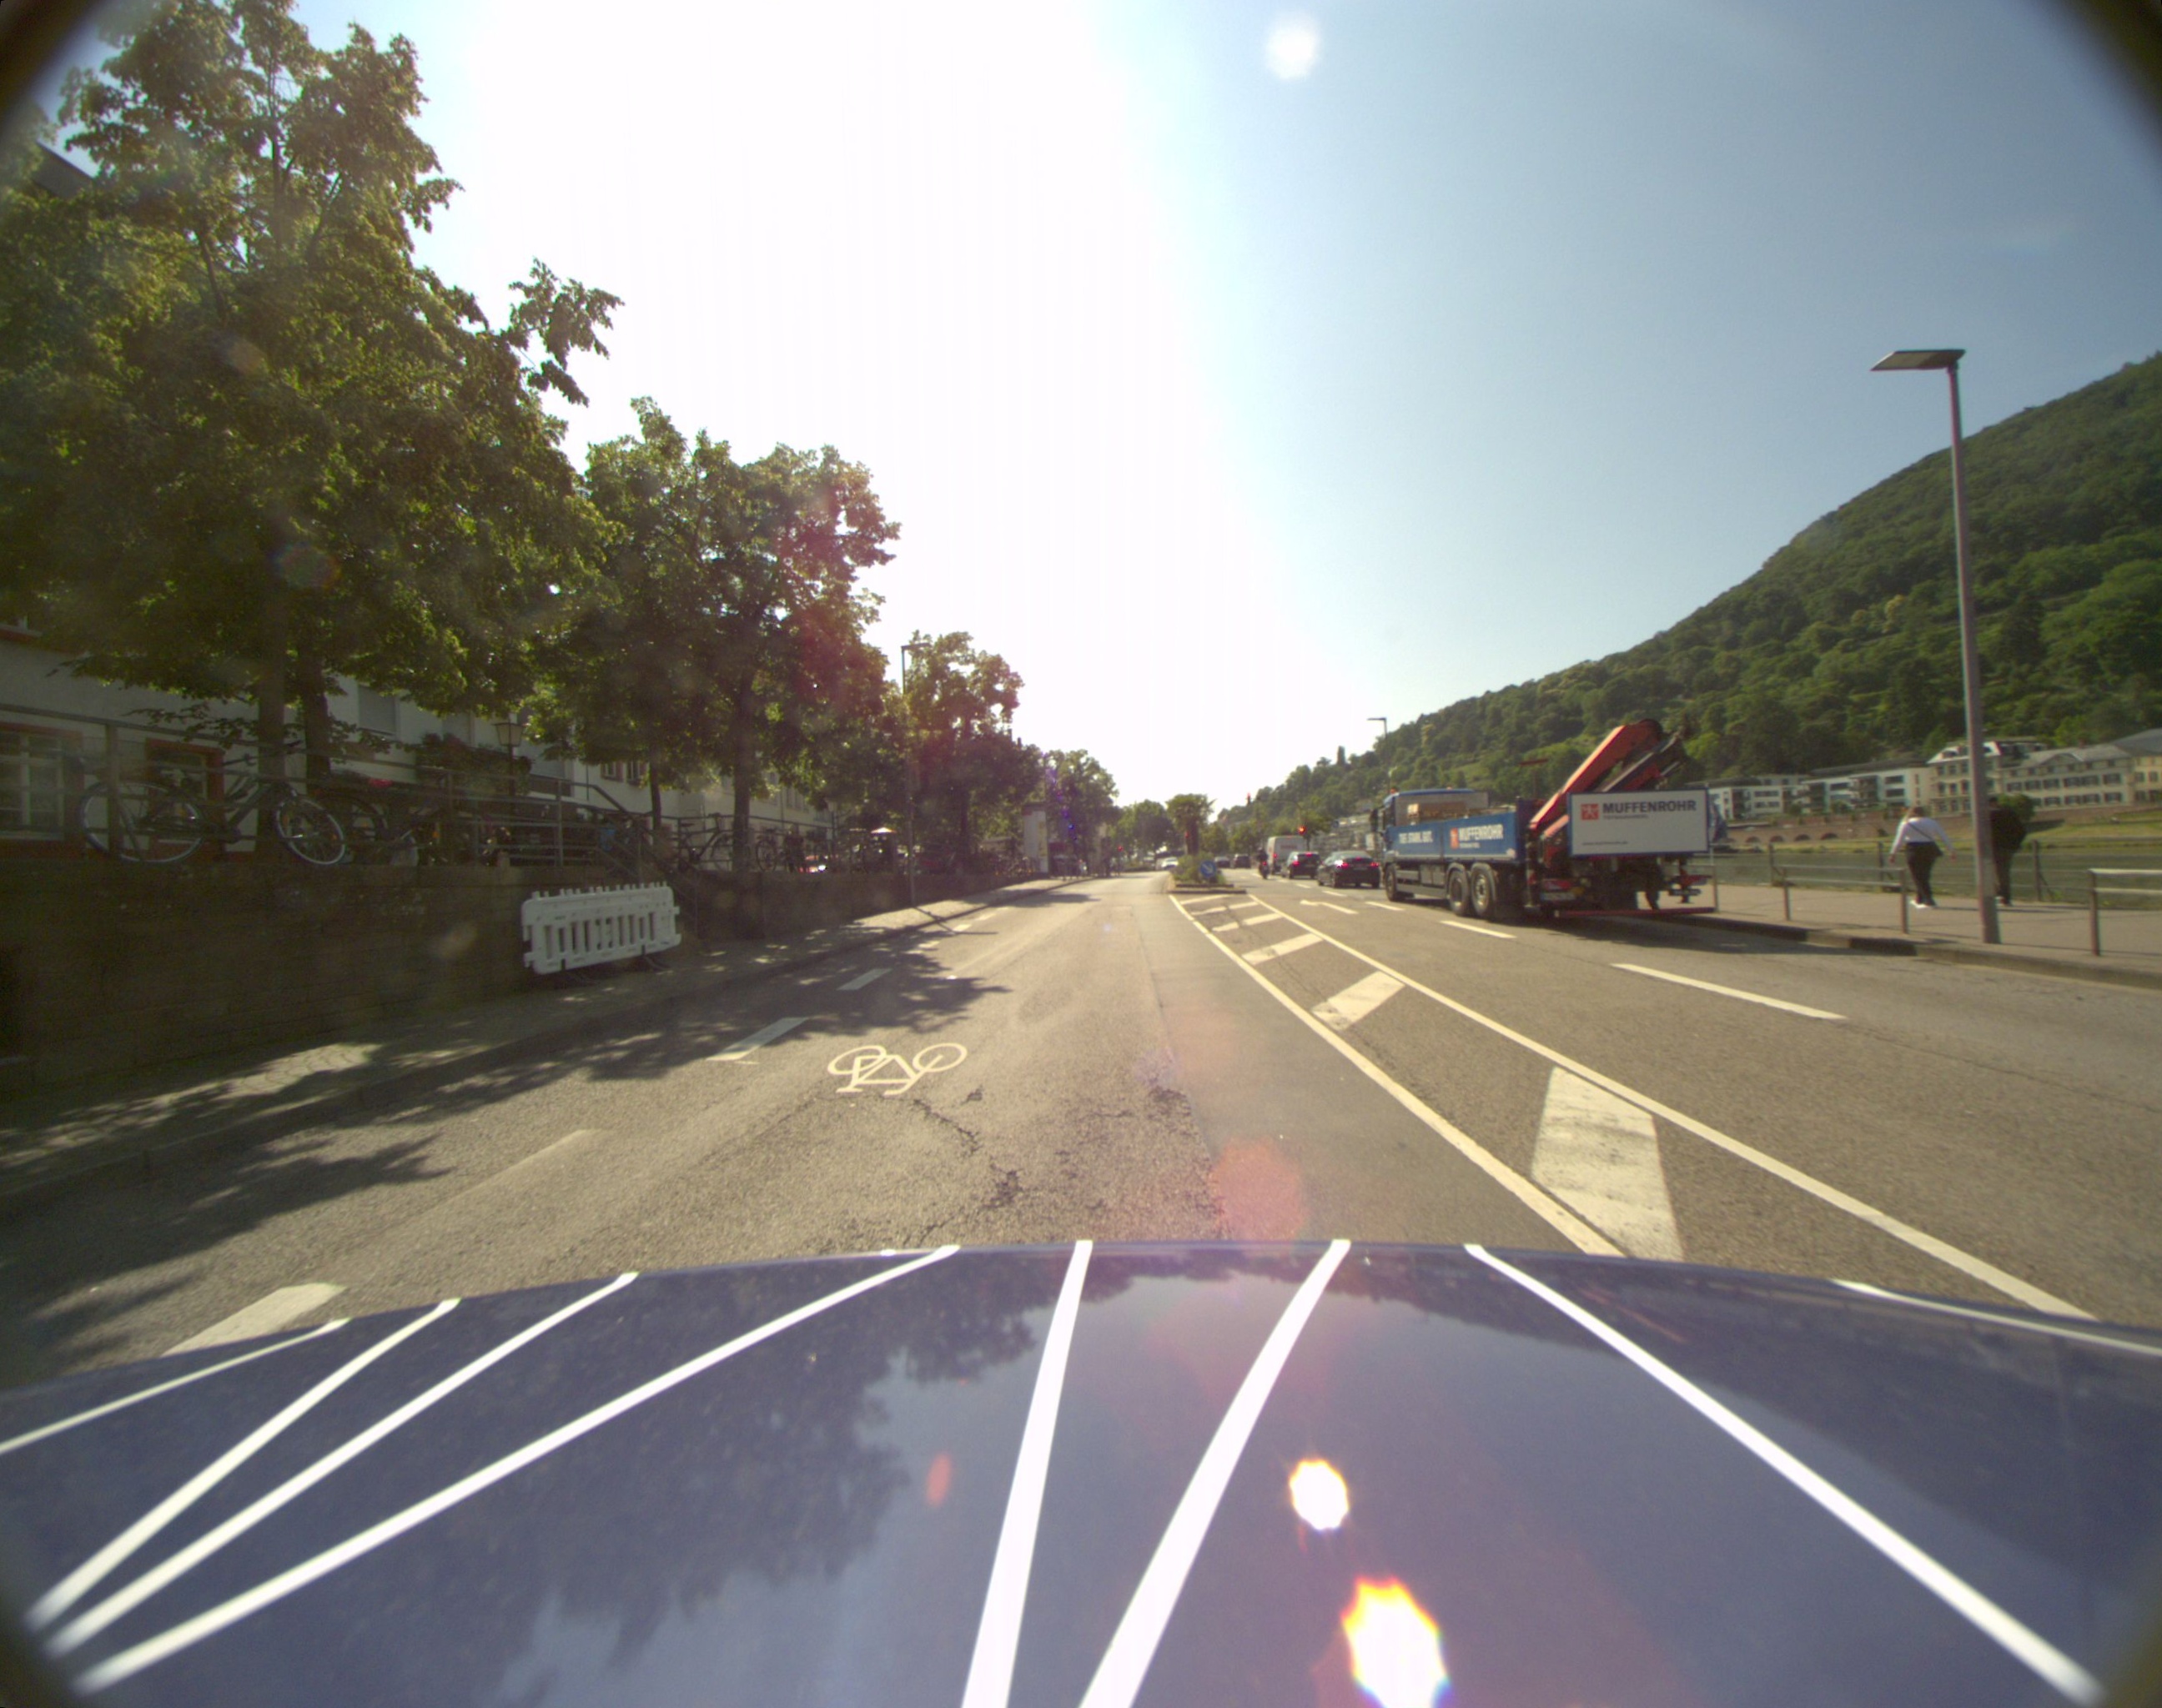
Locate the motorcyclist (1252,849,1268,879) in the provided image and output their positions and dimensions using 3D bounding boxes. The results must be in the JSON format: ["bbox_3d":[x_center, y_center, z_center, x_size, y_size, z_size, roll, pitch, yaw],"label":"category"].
[{"bbox_3d":[9.487,0.522,40.367,0.703,1.518,0.861,-2,0,8],"label":"motorcyclist"}]

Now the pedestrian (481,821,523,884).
[{"bbox_3d":[-14.541,-0.038,19.098,0.469,1.536,0.608,-3,0,8],"label":"pedestrian"}]

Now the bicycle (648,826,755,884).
[{"bbox_3d":[-7.001,0.022,14.033,1.858,0.998,0.299,-2,0,3],"label":"bicycle"}]

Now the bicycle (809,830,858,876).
[{"bbox_3d":[-5.672,-0.008,17.521,0.298,0.998,1.942,-2,-1,5],"label":"bicycle"}]

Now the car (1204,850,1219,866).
[{"bbox_3d":[18.076,0.547,105.087,1.868,2.137,5.025,-2,0,8],"label":"car"}]

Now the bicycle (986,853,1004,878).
[{"bbox_3d":[-3.759,0.513,33.312,0.301,1.042,2.164,0,-1,7],"label":"bicycle"}]

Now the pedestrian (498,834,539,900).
[{"bbox_3d":[-14.173,0.320,19.144,0.541,1.626,0.502,-3,0,8],"label":"pedestrian"}]

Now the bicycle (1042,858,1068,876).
[{"bbox_3d":[-1.656,0.855,49.195,1.631,1.126,0.414,1,0,2],"label":"bicycle"}]

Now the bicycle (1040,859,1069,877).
[{"bbox_3d":[-1.644,0.871,47.337,1.753,1.126,0.540,1,0,0],"label":"bicycle"}]

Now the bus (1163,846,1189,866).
[{"bbox_3d":[16.428,0.336,132.160,2.656,3.368,10.793,-2,0,-2],"label":"bus"}]

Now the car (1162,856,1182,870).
[{"bbox_3d":[10.281,1.011,85.640,1.997,1.497,4.595,-2,-1,8],"label":"car"}]

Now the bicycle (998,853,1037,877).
[{"bbox_3d":[-3.642,0.648,43.808,2.159,1.360,0.584,0,1,6],"label":"bicycle"}]

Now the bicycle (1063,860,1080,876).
[{"bbox_3d":[-0.587,0.876,48.662,0.539,1.002,1.756,-2,0,17],"label":"bicycle"}]

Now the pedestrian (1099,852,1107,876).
[{"bbox_3d":[1.667,0.750,57.315,0.541,1.767,0.583,-1,0,5],"label":"pedestrian"}]

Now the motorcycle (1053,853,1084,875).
[{"bbox_3d":[-0.894,0.725,53.530,2.195,1.519,0.800,-2,0,42],"label":"motorcycle"}]

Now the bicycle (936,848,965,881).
[{"bbox_3d":[-4.603,0.353,26.915,0.345,1.106,1.920,-2,0,10],"label":"bicycle"}]

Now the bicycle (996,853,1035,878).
[{"bbox_3d":[-3.709,0.649,43.269,2.159,1.360,0.477,0,1,6],"label":"bicycle"}]

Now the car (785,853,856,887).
[{"bbox_3d":[-14.473,0.927,42.459,1.835,1.789,4.740,-2,-2,7],"label":"car"}]

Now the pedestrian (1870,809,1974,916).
[{"bbox_3d":[14.045,0.139,12.716,0.713,1.696,0.846,-4,0,8],"label":"pedestrian"}]

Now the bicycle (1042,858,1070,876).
[{"bbox_3d":[-1.620,0.851,48.887,1.752,1.126,0.464,1,0,2],"label":"bicycle"}]

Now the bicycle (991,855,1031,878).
[{"bbox_3d":[-3.904,0.707,42.247,2.159,1.254,0.477,0,1,6],"label":"bicycle"}]

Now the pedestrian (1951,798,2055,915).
[{"bbox_3d":[14.916,0.039,12.309,0.769,1.793,0.636,-4,0,8],"label":"pedestrian"}]

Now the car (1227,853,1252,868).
[{"bbox_3d":[15.852,0.633,76.024,1.997,1.444,4.263,-3,0,6],"label":"car"}]

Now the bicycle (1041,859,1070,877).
[{"bbox_3d":[-1.606,0.870,47.936,1.752,1.126,0.464,1,0,2],"label":"bicycle"}]

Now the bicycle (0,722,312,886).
[{"bbox_3d":[-7.259,-0.331,5.974,0.410,1.099,1.736,-2,0,11],"label":"bicycle"}]

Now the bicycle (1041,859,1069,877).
[{"bbox_3d":[-1.648,0.860,48.408,1.752,1.126,0.464,1,0,2],"label":"bicycle"}]

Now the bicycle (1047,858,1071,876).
[{"bbox_3d":[-1.472,0.854,50.905,1.631,1.210,0.414,1,0,2],"label":"bicycle"}]

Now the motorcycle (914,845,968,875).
[{"bbox_3d":[-5.332,0.220,29.001,1.920,1.092,0.575,-1,1,-1],"label":"motorcycle"}]

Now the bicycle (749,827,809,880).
[{"bbox_3d":[-6.088,0.000,15.414,0.298,0.998,1.861,-2,-1,5],"label":"bicycle"}]

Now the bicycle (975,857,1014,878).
[{"bbox_3d":[-4.509,0.704,39.511,1.953,1.094,0.423,0,1,6],"label":"bicycle"}]

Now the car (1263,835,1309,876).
[{"bbox_3d":[13.286,0.082,49.515,2.199,2.511,4.751,1,0,6],"label":"car"}]

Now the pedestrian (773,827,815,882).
[{"bbox_3d":[-6.817,0.010,18.092,0.696,1.257,0.670,-2,0,2],"label":"pedestrian"}]

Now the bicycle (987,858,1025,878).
[{"bbox_3d":[-4.099,0.747,41.324,2.027,1.086,0.338,0,0,6],"label":"bicycle"}]

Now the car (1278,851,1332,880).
[{"bbox_3d":[12.088,0.594,41.334,1.997,1.410,4.923,-2,0,7],"label":"car"}]

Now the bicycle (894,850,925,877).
[{"bbox_3d":[-5.117,0.279,22.753,0.350,0.779,1.919,-2,0,4],"label":"bicycle"}]

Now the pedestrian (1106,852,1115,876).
[{"bbox_3d":[2.185,0.720,56.368,0.541,1.767,0.583,-1,0,11],"label":"pedestrian"}]

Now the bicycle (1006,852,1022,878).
[{"bbox_3d":[-3.306,0.529,37.566,0.476,1.254,2.163,0,0,4],"label":"bicycle"}]

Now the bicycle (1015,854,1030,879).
[{"bbox_3d":[-3.048,0.630,39.812,0.476,1.254,2.163,0,0,4],"label":"bicycle"}]

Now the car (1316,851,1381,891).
[{"bbox_3d":[10.587,0.616,30.334,1.660,1.428,4.083,-2,0,8],"label":"car"}]

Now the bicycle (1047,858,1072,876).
[{"bbox_3d":[-1.425,0.876,51.207,1.631,1.163,0.350,1,0,2],"label":"bicycle"}]

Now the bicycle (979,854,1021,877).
[{"bbox_3d":[-4.316,0.610,40.482,2.159,1.254,0.477,0,1,6],"label":"bicycle"}]

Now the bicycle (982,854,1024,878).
[{"bbox_3d":[-4.202,0.632,40.937,2.159,1.254,0.421,0,1,6],"label":"bicycle"}]

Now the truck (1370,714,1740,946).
[{"bbox_3d":[9.280,-0.352,17.094,2.647,3.456,11.113,-2,0,8],"label":"truck"}]

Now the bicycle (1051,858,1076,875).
[{"bbox_3d":[-1.191,0.872,51.858,1.628,1.163,0.426,-1,0,25],"label":"bicycle"}]

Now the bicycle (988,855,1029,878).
[{"bbox_3d":[-3.990,0.708,41.747,2.159,1.254,0.477,0,1,6],"label":"bicycle"}]

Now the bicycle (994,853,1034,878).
[{"bbox_3d":[-3.774,0.651,42.766,2.159,1.360,0.477,0,1,6],"label":"bicycle"}]

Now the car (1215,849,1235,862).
[{"bbox_3d":[17.408,0.165,91.888,1.907,1.428,3.892,-2,0,4],"label":"car"}]

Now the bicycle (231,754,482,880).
[{"bbox_3d":[-7.158,-0.330,7.666,0.410,1.099,1.925,-2,0,11],"label":"bicycle"}]

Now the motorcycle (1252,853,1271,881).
[{"bbox_3d":[9.527,0.665,40.116,0.727,1.379,2.513,-2,0,8],"label":"motorcycle"}]

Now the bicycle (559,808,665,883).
[{"bbox_3d":[-7.693,-0.111,12.558,0.382,1.133,1.935,-2,-1,5],"label":"bicycle"}]

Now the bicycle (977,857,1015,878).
[{"bbox_3d":[-4.468,0.699,39.978,1.966,1.106,0.477,0,1,6],"label":"bicycle"}]

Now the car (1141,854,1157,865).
[{"bbox_3d":[11.999,0.990,134.106,1.999,1.750,4.589,-2,1,-3],"label":"car"}]

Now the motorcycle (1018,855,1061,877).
[{"bbox_3d":[-2.527,0.741,45.771,2.531,1.267,0.725,-2,0,29],"label":"motorcycle"}]
